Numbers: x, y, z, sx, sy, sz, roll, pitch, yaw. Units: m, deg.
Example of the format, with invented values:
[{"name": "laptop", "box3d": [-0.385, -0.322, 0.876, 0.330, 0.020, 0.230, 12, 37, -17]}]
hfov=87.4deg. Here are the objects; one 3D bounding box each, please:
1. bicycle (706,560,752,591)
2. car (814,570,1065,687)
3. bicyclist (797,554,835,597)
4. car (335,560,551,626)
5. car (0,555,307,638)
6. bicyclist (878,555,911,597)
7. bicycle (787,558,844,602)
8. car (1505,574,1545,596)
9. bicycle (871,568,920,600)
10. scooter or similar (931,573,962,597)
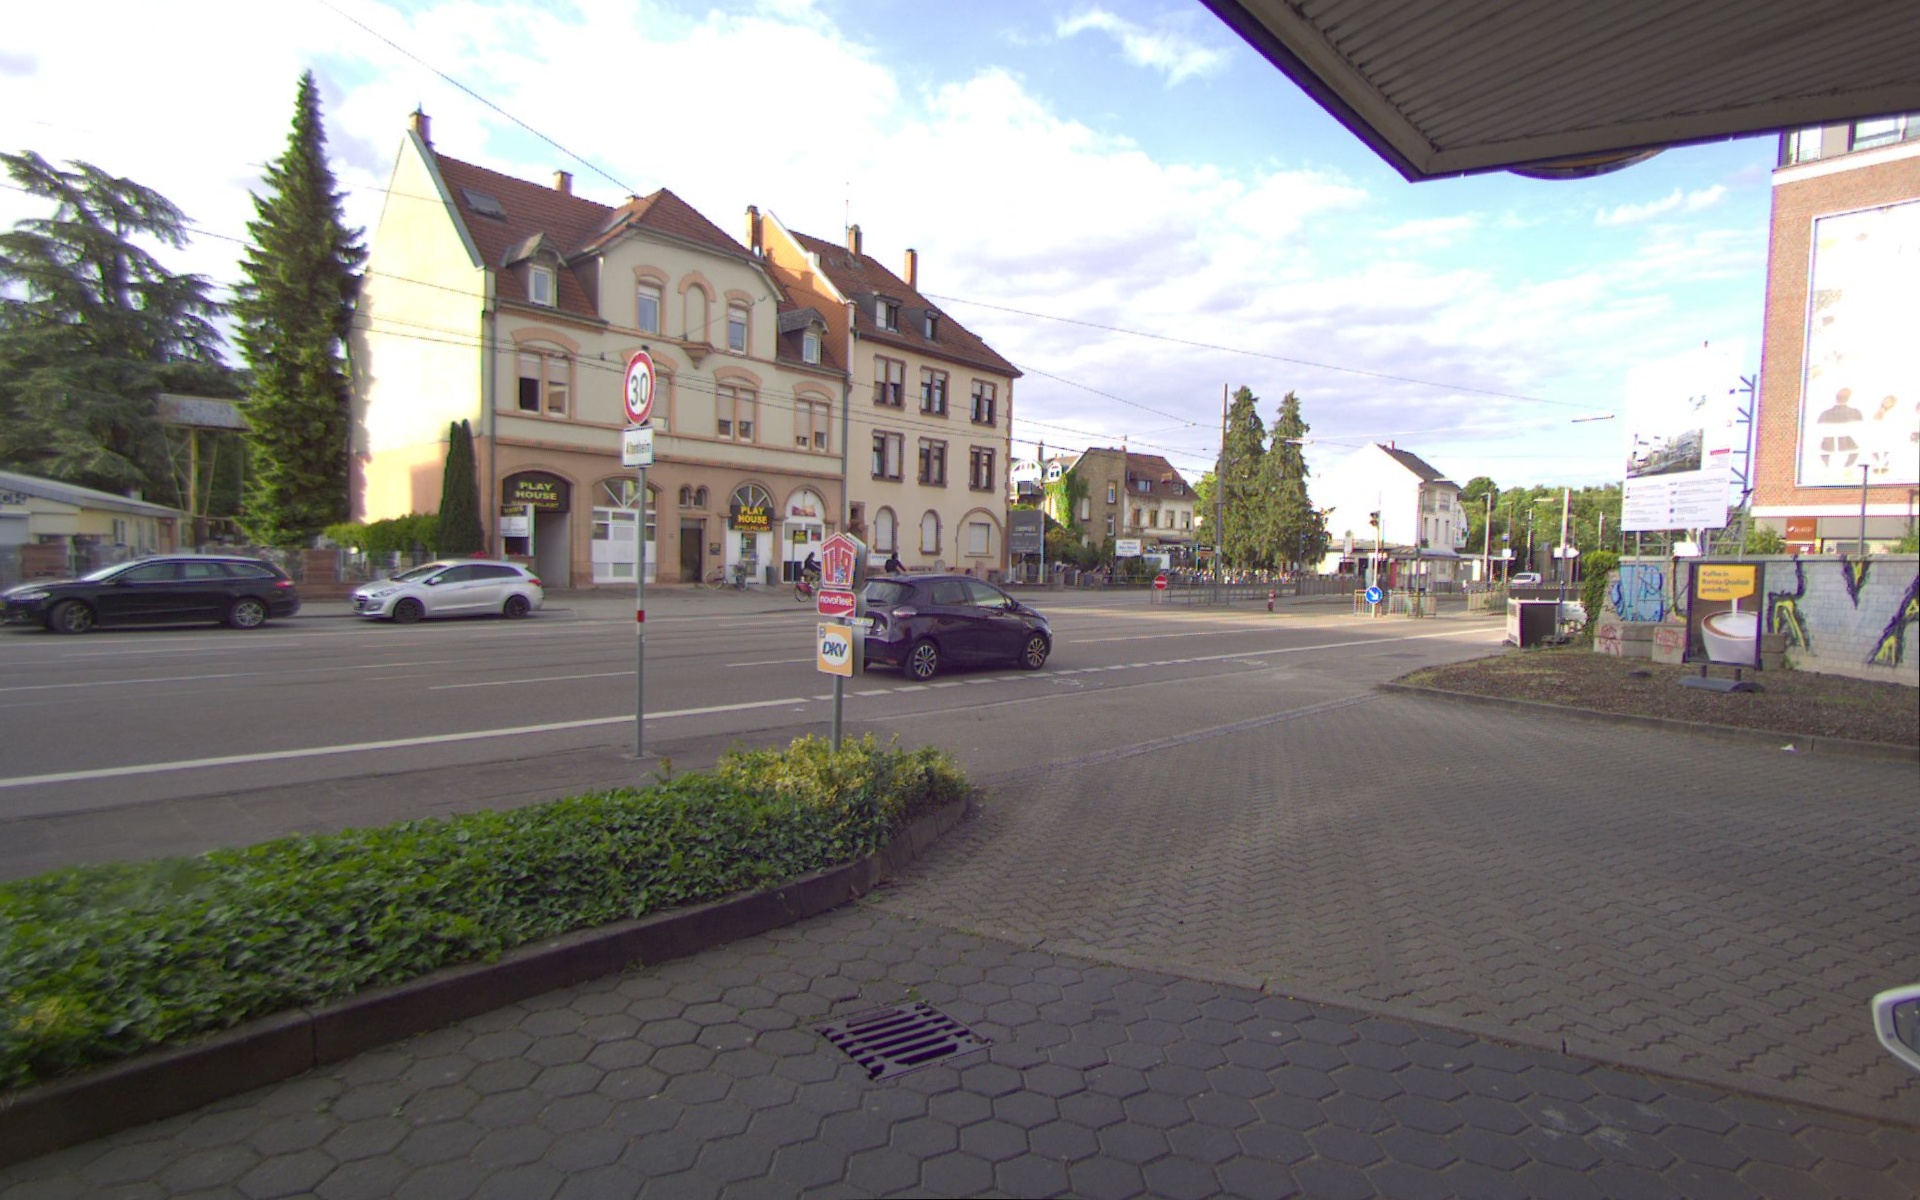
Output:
[{"name": "bicycle", "box3d": [-9.141, -0.952, 39.719, 0.508, 1.189, 1.809, 4, 2, 40]}, {"name": "car", "box3d": [-0.227, 0.358, 16.120, 1.707, 1.564, 3.976, 5, 4, 43]}, {"name": "bicyclist", "box3d": [-5.233, -0.889, 36.535, 0.777, 1.512, 1.091, 6, 5, 40]}, {"name": "car", "box3d": [-12.999, -0.242, 25.474, 1.970, 1.495, 4.467, 3, 3, 40]}, {"name": "car", "box3d": [-16.567, -0.144, 20.742, 1.970, 1.516, 4.801, 3, 3, 40]}, {"name": "bicyclist", "box3d": [-2.629, -0.973, 40.442, 0.833, 1.579, 0.960, 8, 6, 39]}, {"name": "bicycle", "box3d": [-5.239, -0.712, 36.542, 0.777, 1.512, 1.982, 6, 5, 40]}, {"name": "car", "box3d": [52.859, -1.421, 93.957, 4.379, 1.915, 1.944, 0, 3, -43]}, {"name": "bicycle", "box3d": [-2.600, -0.653, 40.529, 0.833, 1.219, 1.897, 8, 6, 38]}, {"name": "scooter or similar", "box3d": [-0.596, -0.686, 45.145, 0.488, 1.015, 1.592, 5, 5, 39]}]
